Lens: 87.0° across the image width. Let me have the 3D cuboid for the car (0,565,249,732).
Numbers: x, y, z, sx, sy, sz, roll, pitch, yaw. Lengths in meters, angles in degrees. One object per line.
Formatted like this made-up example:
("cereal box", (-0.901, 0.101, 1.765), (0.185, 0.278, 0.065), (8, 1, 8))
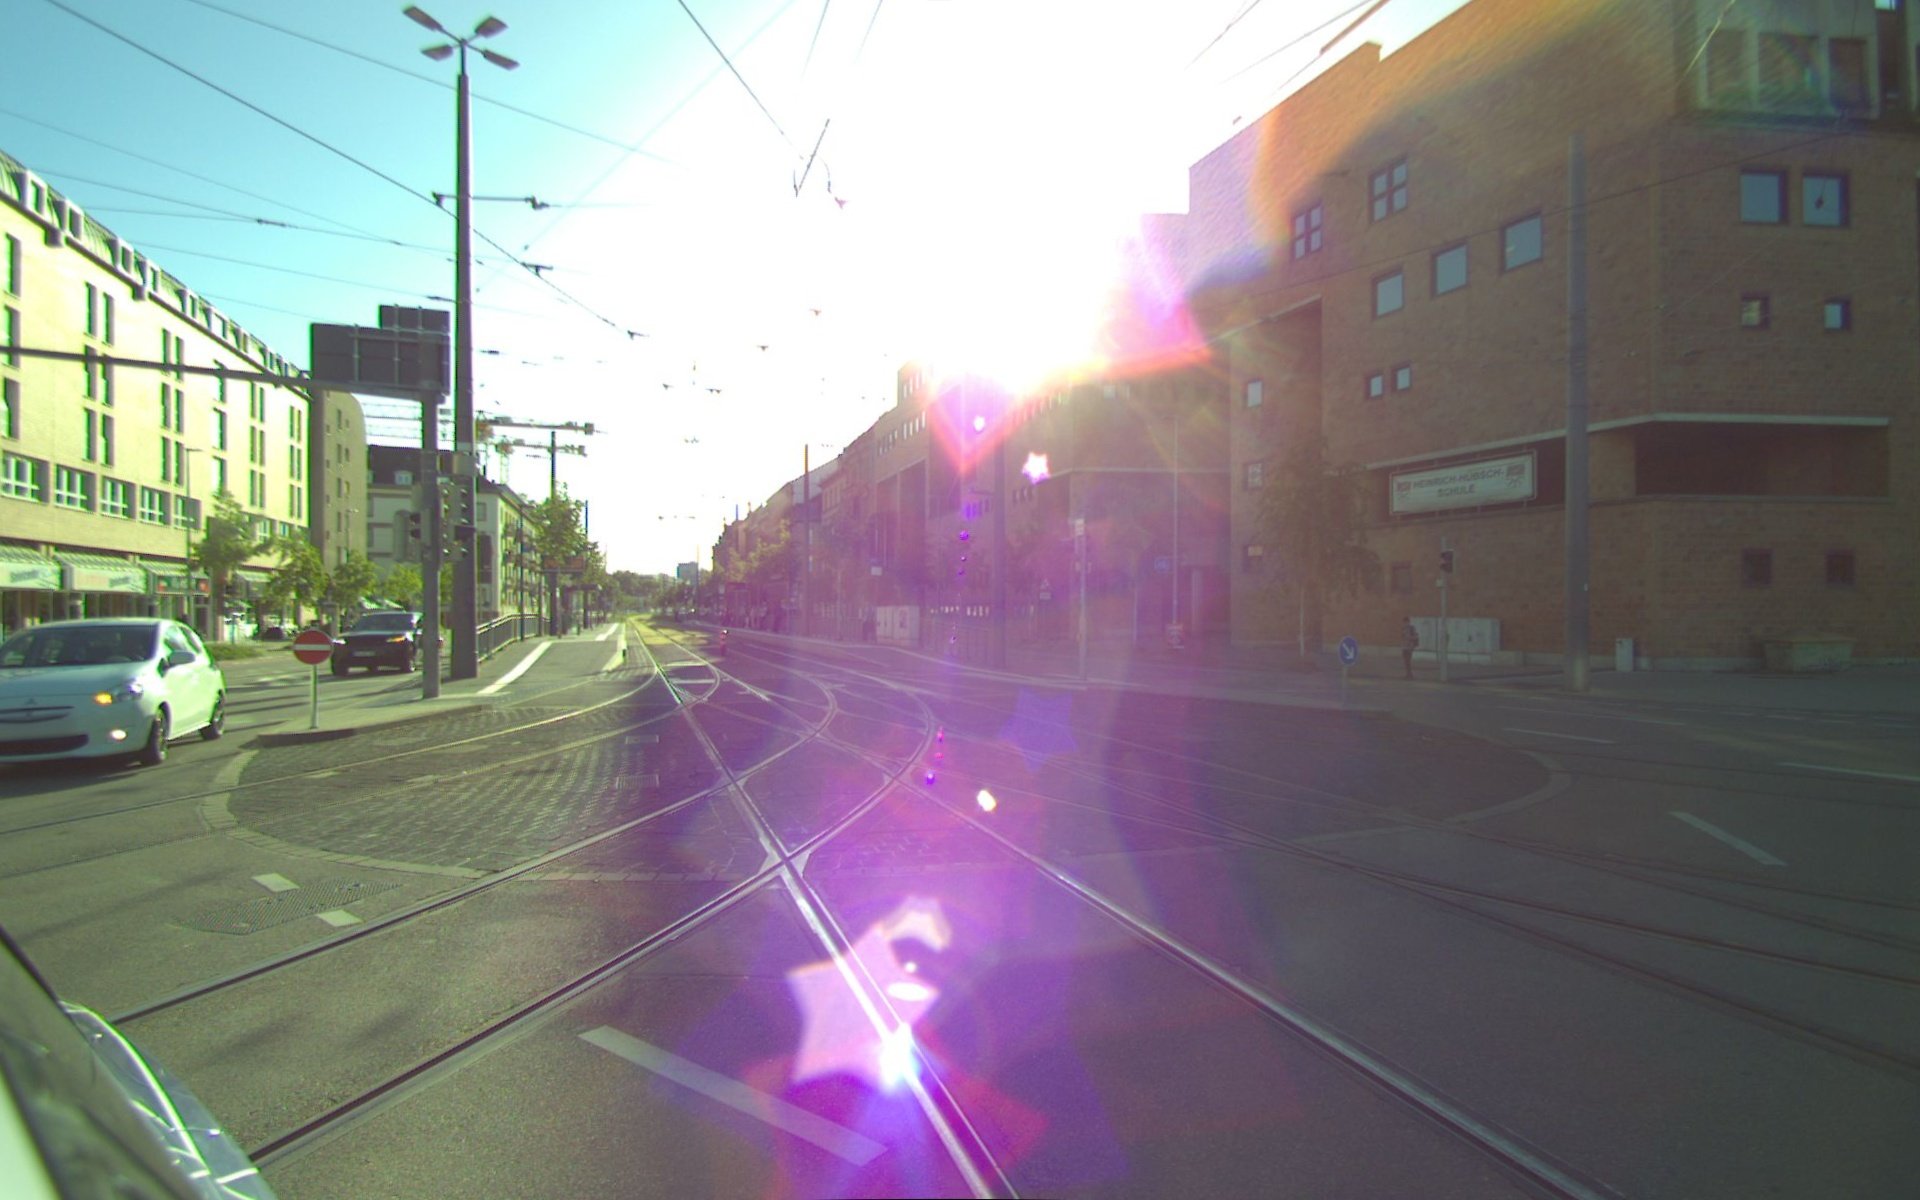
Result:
("car", (-9.164, 0.509, 10.941), (1.613, 1.478, 4.200), (-1, -2, -24))

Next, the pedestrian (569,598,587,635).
("pedestrian", (-21.140, 0.886, 55.989), (0.865, 2.029, 0.787), (1, 0, -27))

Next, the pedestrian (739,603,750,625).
("pedestrian", (-15.700, 0.988, 73.657), (0.681, 1.587, 0.588), (1, 0, -21))

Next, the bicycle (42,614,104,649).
("bicycle", (-31.694, 1.126, 36.164), (1.752, 1.157, 0.553), (2, 1, 3))

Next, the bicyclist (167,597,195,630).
("bicyclist", (-37.724, 0.647, 49.023), (0.573, 1.526, 0.849), (4, -2, 5))

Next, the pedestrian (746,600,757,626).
("pedestrian", (-14.038, 0.860, 68.128), (0.681, 1.755, 0.588), (1, 0, -21))

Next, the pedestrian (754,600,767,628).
("pedestrian", (-12.669, 0.897, 64.308), (0.681, 1.755, 0.588), (1, 0, -21))

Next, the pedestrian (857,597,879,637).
("pedestrian", (-3.566, 0.664, 39.278), (0.690, 1.546, 0.656), (0, 0, -21))

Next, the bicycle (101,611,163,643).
("bicycle", (-31.876, 1.043, 38.986), (1.746, 1.150, 0.555), (2, 1, -15))

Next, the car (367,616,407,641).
("car", (-38.829, 1.890, 68.676), (1.628, 1.541, 3.704), (-1, 1, -17))

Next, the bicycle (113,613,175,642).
("bicycle", (-32.339, 1.086, 40.147), (1.746, 1.079, 0.739), (2, 1, -15))

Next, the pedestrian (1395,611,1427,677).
("pedestrian", (11.292, 1.089, 25.335), (0.501, 1.629, 0.506), (-1, 1, -28))

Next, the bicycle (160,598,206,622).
("bicycle", (-37.673, 0.492, 49.081), (0.595, 1.058, 1.878), (4, -2, 5))

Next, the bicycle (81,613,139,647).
("bicycle", (-31.611, 1.104, 37.637), (1.752, 1.157, 0.553), (2, 1, 3))

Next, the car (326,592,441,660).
("car", (-15.921, 0.646, 28.172), (1.923, 1.674, 4.369), (-1, 1, -18))

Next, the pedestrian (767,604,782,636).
("pedestrian", (-10.067, 1.088, 54.981), (0.681, 1.755, 0.588), (1, 0, -21))

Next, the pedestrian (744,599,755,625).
("pedestrian", (-14.442, 0.846, 69.439), (0.681, 1.755, 0.588), (1, 0, -21))
